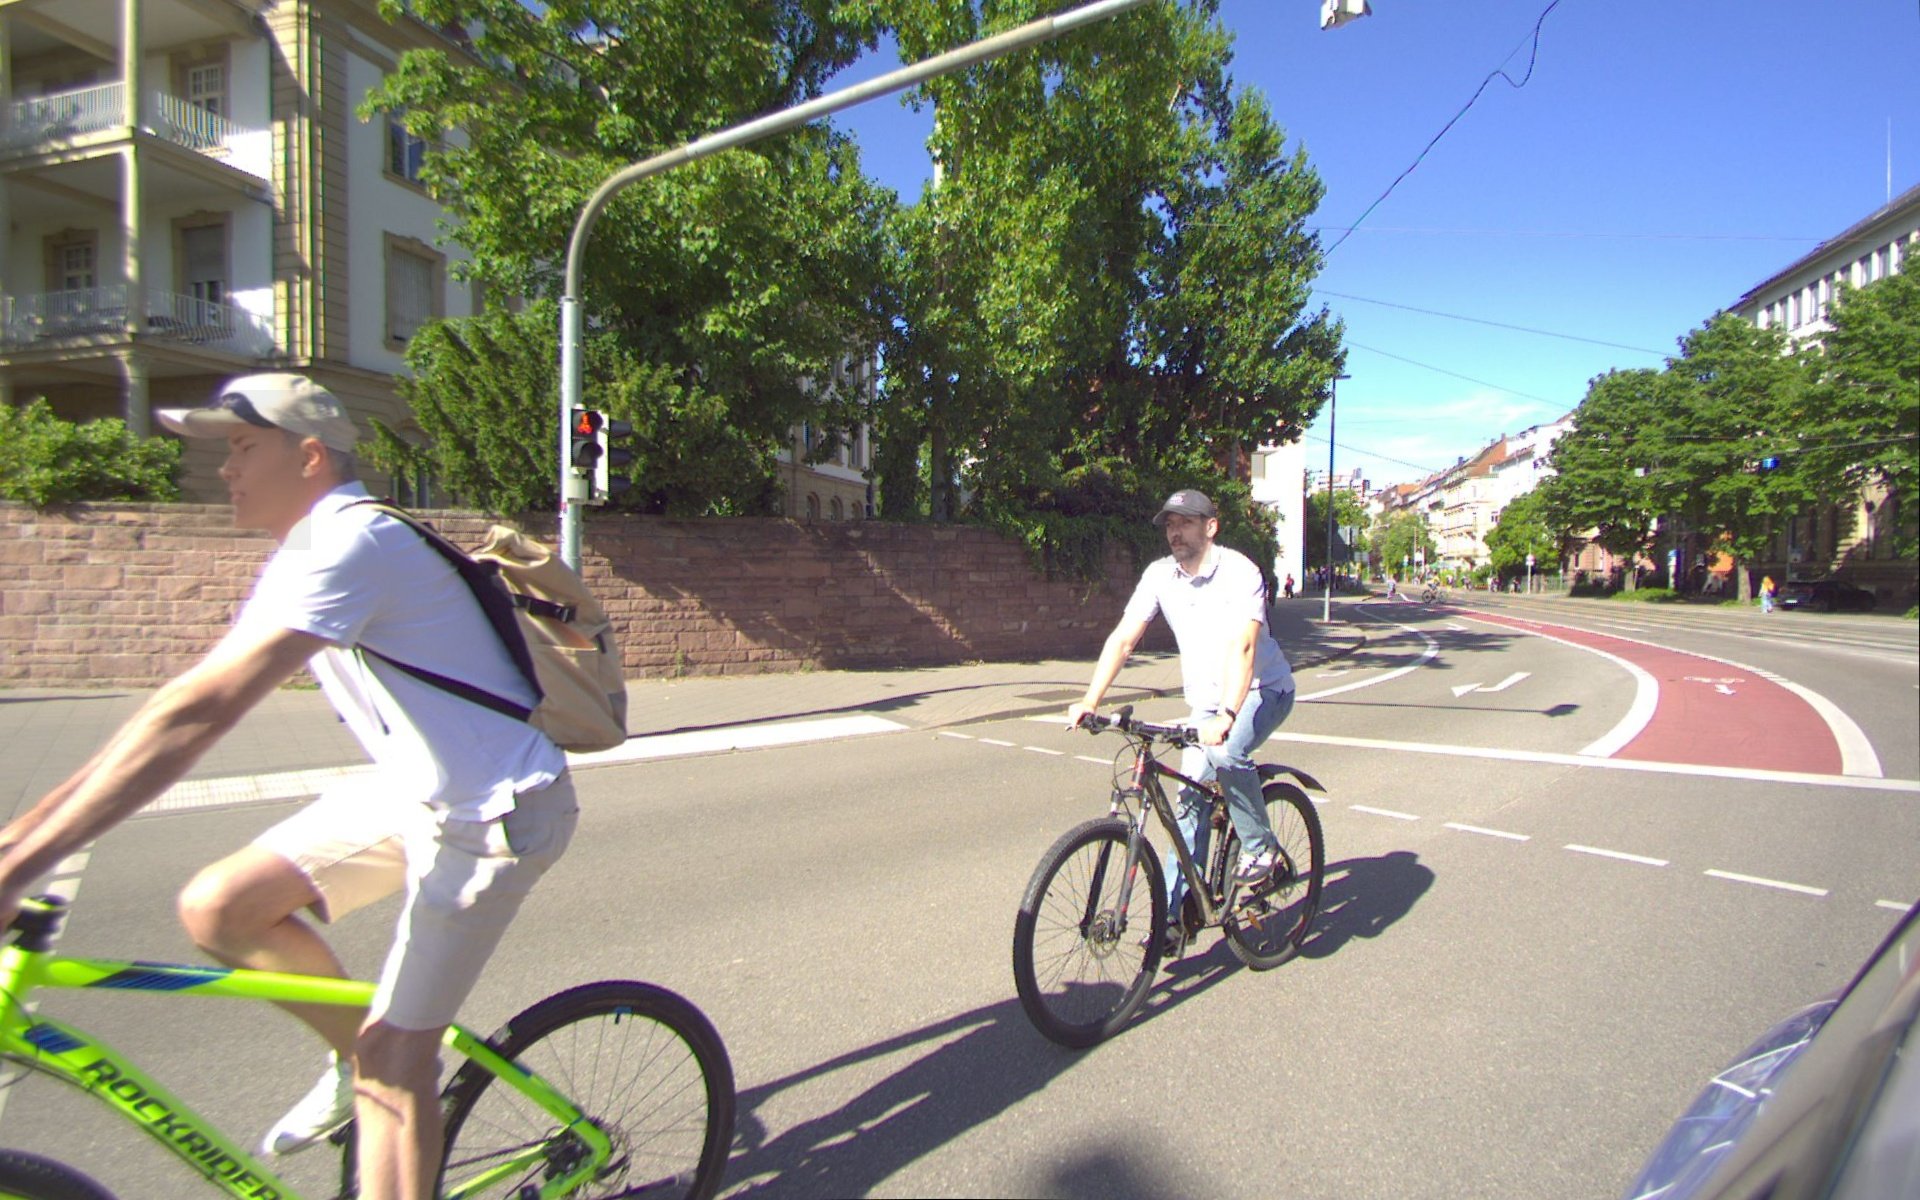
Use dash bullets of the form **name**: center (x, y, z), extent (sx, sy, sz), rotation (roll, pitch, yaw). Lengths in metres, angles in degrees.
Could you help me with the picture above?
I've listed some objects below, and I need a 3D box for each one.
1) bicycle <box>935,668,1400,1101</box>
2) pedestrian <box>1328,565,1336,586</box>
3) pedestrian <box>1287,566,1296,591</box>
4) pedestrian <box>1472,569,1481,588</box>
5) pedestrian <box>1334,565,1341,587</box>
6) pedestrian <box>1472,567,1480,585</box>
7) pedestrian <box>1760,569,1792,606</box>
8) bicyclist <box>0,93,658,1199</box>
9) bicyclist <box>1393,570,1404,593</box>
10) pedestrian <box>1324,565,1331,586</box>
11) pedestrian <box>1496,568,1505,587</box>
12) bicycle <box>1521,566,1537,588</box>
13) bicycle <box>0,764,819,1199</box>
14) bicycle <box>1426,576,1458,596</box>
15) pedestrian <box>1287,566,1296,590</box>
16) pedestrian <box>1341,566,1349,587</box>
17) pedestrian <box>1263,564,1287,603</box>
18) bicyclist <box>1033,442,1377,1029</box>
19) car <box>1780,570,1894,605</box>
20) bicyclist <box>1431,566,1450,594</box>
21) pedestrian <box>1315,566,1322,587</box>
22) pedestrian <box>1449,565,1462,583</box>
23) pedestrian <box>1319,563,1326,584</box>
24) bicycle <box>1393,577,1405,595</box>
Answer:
- **bicycle**: center (0.822, 0.869, 3.683), extent (1.796, 1.090, 0.613), rotation (-2, 1, -36)
- **pedestrian**: center (32.996, -2.204, 89.717), extent (0.580, 1.828, 0.580), rotation (1, 1, 16)
- **pedestrian**: center (21.132, -1.381, 64.582), extent (0.513, 1.586, 0.532), rotation (1, 1, 17)
- **pedestrian**: center (53.619, -2.233, 105.002), extent (0.720, 1.879, 0.650), rotation (1, 1, 20)
- **pedestrian**: center (32.904, -2.093, 88.197), extent (0.580, 1.828, 0.517), rotation (1, 1, 16)
- **pedestrian**: center (53.599, -2.492, 105.077), extent (0.571, 1.879, 0.681), rotation (1, 1, 18)
- **pedestrian**: center (39.001, -0.591, 48.383), extent (0.760, 1.691, 1.029), rotation (3, -2, 13)
- **bicyclist**: center (-1.177, 0.253, 1.757), extent (0.989, 1.769, 0.664), rotation (2, 1, -44)
- **bicyclist**: center (29.459, -1.245, 67.987), extent (0.657, 1.479, 0.618), rotation (-1, 2, 21)
- **pedestrian**: center (32.107, -2.109, 88.444), extent (0.580, 1.828, 0.543), rotation (1, 1, 16)
- **pedestrian**: center (52.716, -2.198, 98.713), extent (0.571, 1.879, 0.681), rotation (1, 1, 18)
- **bicycle**: center (53.156, -2.150, 94.572), extent (0.997, 1.910, 3.848), rotation (0, 2, 34)
- **bicycle**: center (-1.217, 0.958, 1.767), extent (1.859, 1.060, 0.663), rotation (2, 1, -45)
- **bicycle**: center (28.494, -0.827, 59.861), extent (1.573, 1.166, 0.743), rotation (-1, 2, 10)
- **pedestrian**: center (21.407, -1.418, 65.339), extent (0.513, 1.586, 0.532), rotation (1, 1, 17)
- **pedestrian**: center (33.506, -2.048, 87.992), extent (0.580, 1.749, 0.517), rotation (1, 1, 16)
- **pedestrian**: center (14.484, -0.778, 46.524), extent (0.927, 1.698, 0.950), rotation (3, 3, 16)
- **bicyclist**: center (0.894, 0.399, 3.690), extent (0.995, 1.798, 0.752), rotation (-1, 1, -36)
- **car**: center (41.670, -0.615, 48.117), extent (4.025, 1.593, 1.925), rotation (0, 2, -10)
- **bicyclist**: center (28.423, -1.177, 59.864), extent (0.865, 1.602, 0.743), rotation (-1, 2, 10)
- **pedestrian**: center (31.406, -2.101, 88.675), extent (0.580, 1.828, 0.543), rotation (1, 1, 16)
- **pedestrian**: center (50.103, -2.640, 102.383), extent (0.913, 1.759, 0.679), rotation (0, 1, -2)
- **pedestrian**: center (32.215, -2.383, 89.895), extent (0.580, 1.828, 0.580), rotation (1, 1, 16)
- **bicycle**: center (29.474, -0.943, 68.012), extent (0.657, 1.166, 1.661), rotation (-1, 2, 21)
